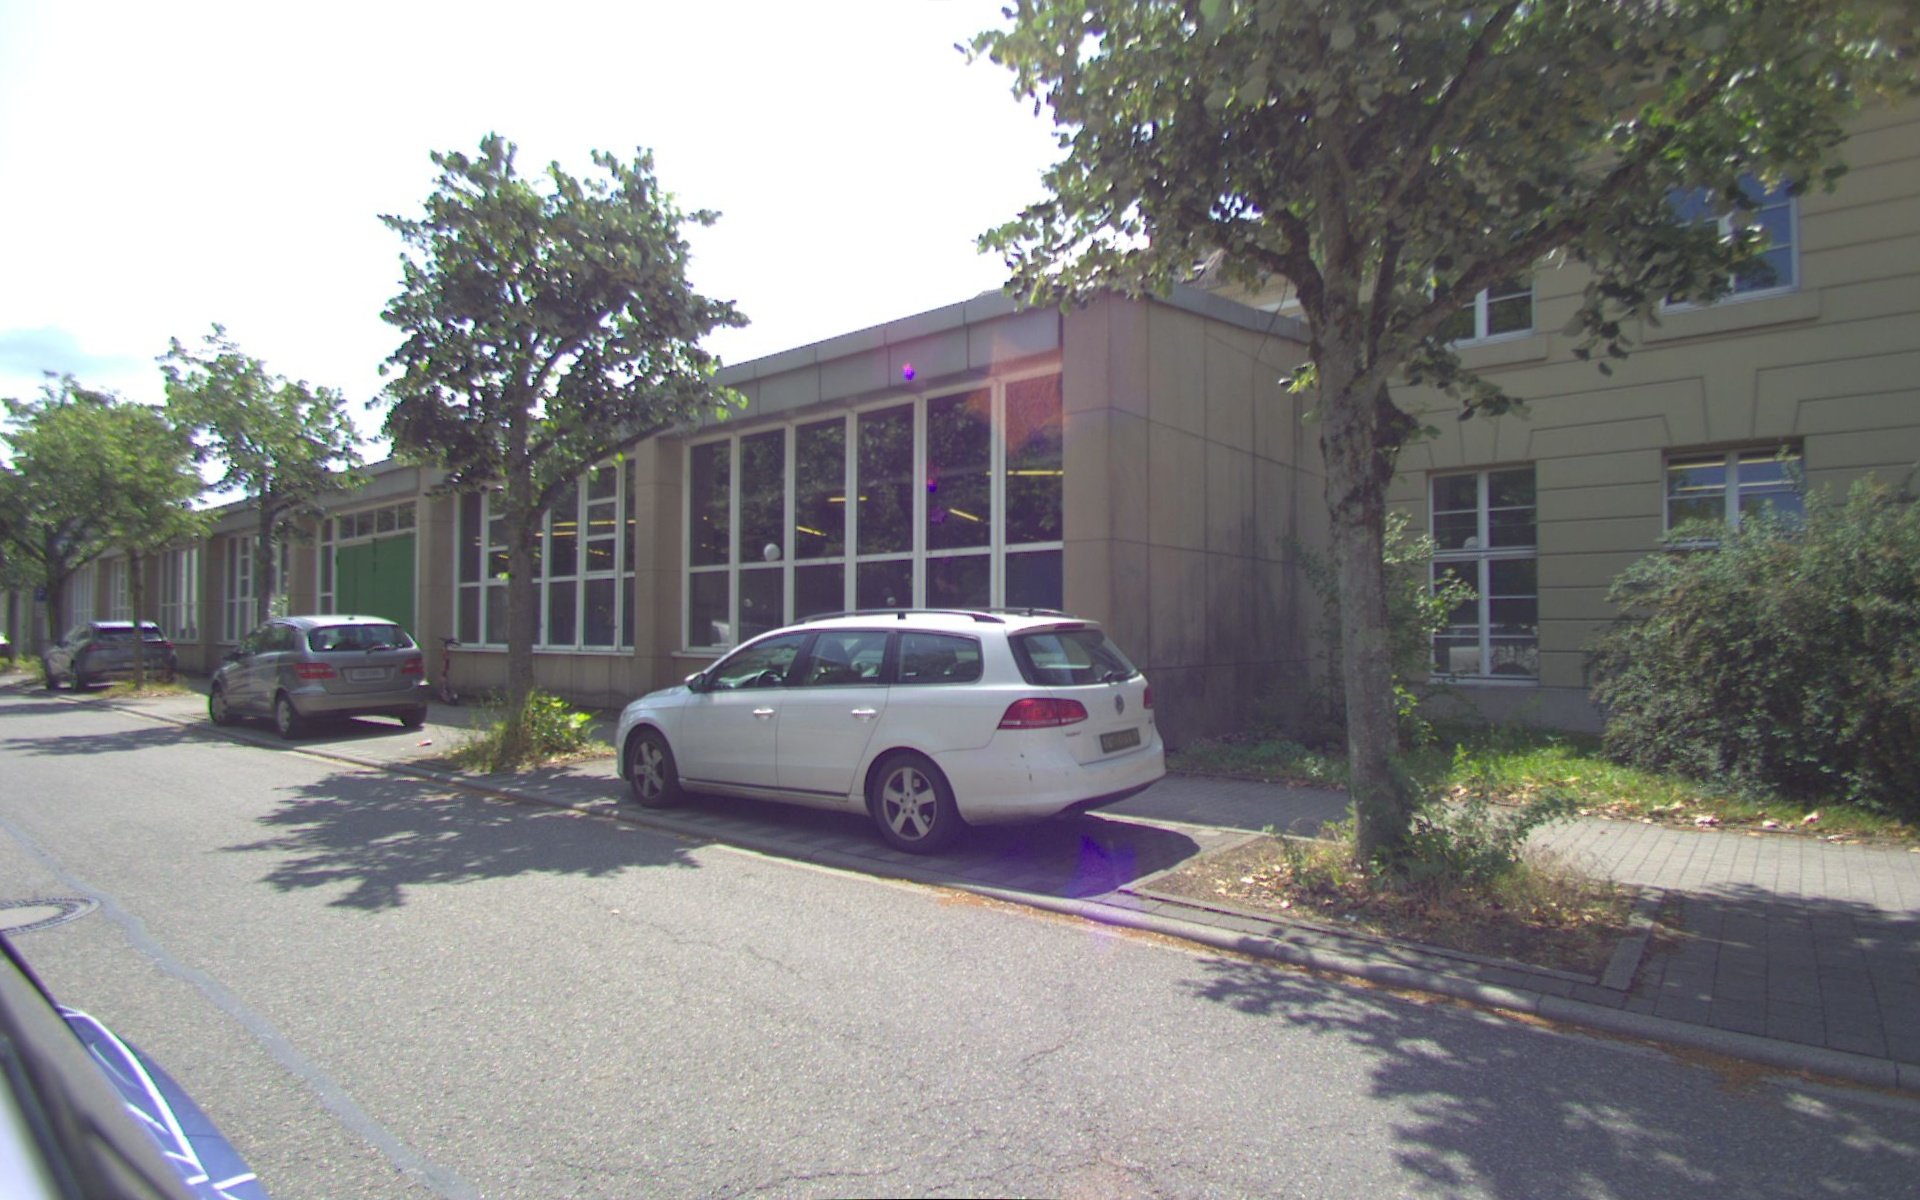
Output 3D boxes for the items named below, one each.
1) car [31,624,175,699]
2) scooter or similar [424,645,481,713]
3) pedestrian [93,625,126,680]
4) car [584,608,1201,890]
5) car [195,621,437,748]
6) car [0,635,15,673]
[{"bbox_3d":[-21.152,1.453,24.921,4.510,1.645,1.804,-1,-1,38],"label":"car"},{"bbox_3d":[-9.277,1.428,18.504,1.214,1.178,0.500,-2,-1,41],"label":"scooter or similar"},{"bbox_3d":[-28.747,1.774,34.201,0.670,1.801,0.779,-3,-2,43],"label":"pedestrian"},{"bbox_3d":[-0.728,0.832,7.452,4.577,1.467,1.708,-1,-1,39],"label":"car"},{"bbox_3d":[-9.454,1.120,14.745,4.108,1.568,1.740,-1,-1,38],"label":"car"},{"bbox_3d":[-39.056,2.185,40.172,4.285,1.446,1.708,-3,-1,40],"label":"car"}]
